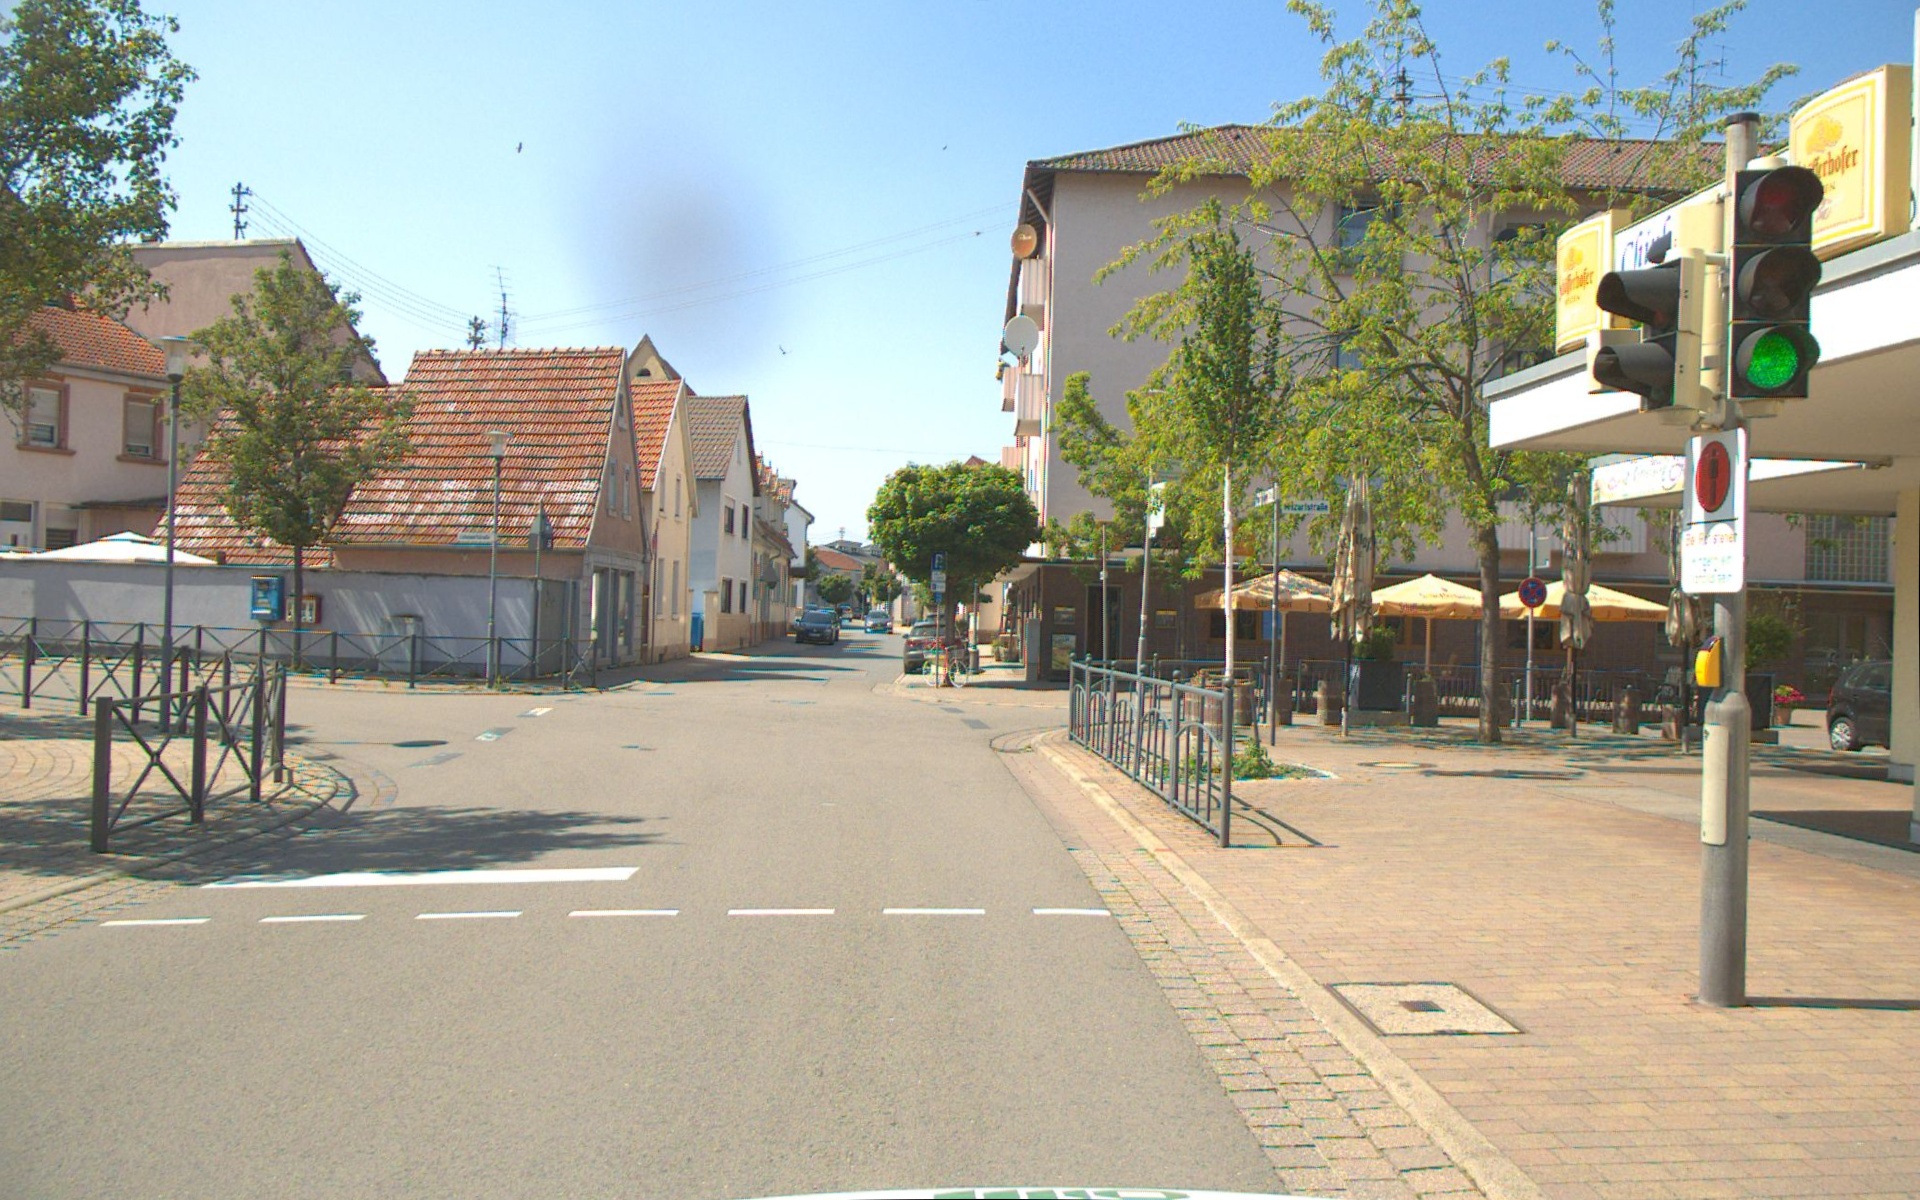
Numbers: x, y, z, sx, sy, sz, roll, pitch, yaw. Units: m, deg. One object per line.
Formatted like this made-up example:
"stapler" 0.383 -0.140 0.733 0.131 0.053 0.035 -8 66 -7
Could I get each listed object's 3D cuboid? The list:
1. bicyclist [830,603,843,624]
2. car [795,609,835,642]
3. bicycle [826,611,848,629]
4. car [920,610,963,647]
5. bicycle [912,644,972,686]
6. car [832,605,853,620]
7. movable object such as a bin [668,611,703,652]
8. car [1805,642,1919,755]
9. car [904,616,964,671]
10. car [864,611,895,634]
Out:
"bicyclist" -9.847 1.077 131.864 1.026 1.666 1.127 1 -1 -7
"car" -6.789 1.195 77.727 1.629 1.502 4.133 1 -1 -1
"bicycle" -9.835 1.611 131.908 1.592 1.395 3.920 1 -1 -7
"car" -0.922 1.360 80.676 2.001 1.718 4.840 1 -1 -1
"bicycle" -0.428 1.491 38.189 1.386 0.913 0.463 0 0 36
"car" -12.585 1.344 177.939 1.986 1.626 4.507 1 -1 -1
"movable object such as a bin" -9.328 1.070 56.272 1.078 1.389 0.390 1 -1 3
"car" 14.073 1.415 23.530 1.733 1.536 3.965 2 -1 -7
"car" -0.713 1.206 46.813 1.543 1.479 3.486 1 -1 1
"car" -5.374 1.503 109.753 1.872 1.507 4.839 1 -1 -5
